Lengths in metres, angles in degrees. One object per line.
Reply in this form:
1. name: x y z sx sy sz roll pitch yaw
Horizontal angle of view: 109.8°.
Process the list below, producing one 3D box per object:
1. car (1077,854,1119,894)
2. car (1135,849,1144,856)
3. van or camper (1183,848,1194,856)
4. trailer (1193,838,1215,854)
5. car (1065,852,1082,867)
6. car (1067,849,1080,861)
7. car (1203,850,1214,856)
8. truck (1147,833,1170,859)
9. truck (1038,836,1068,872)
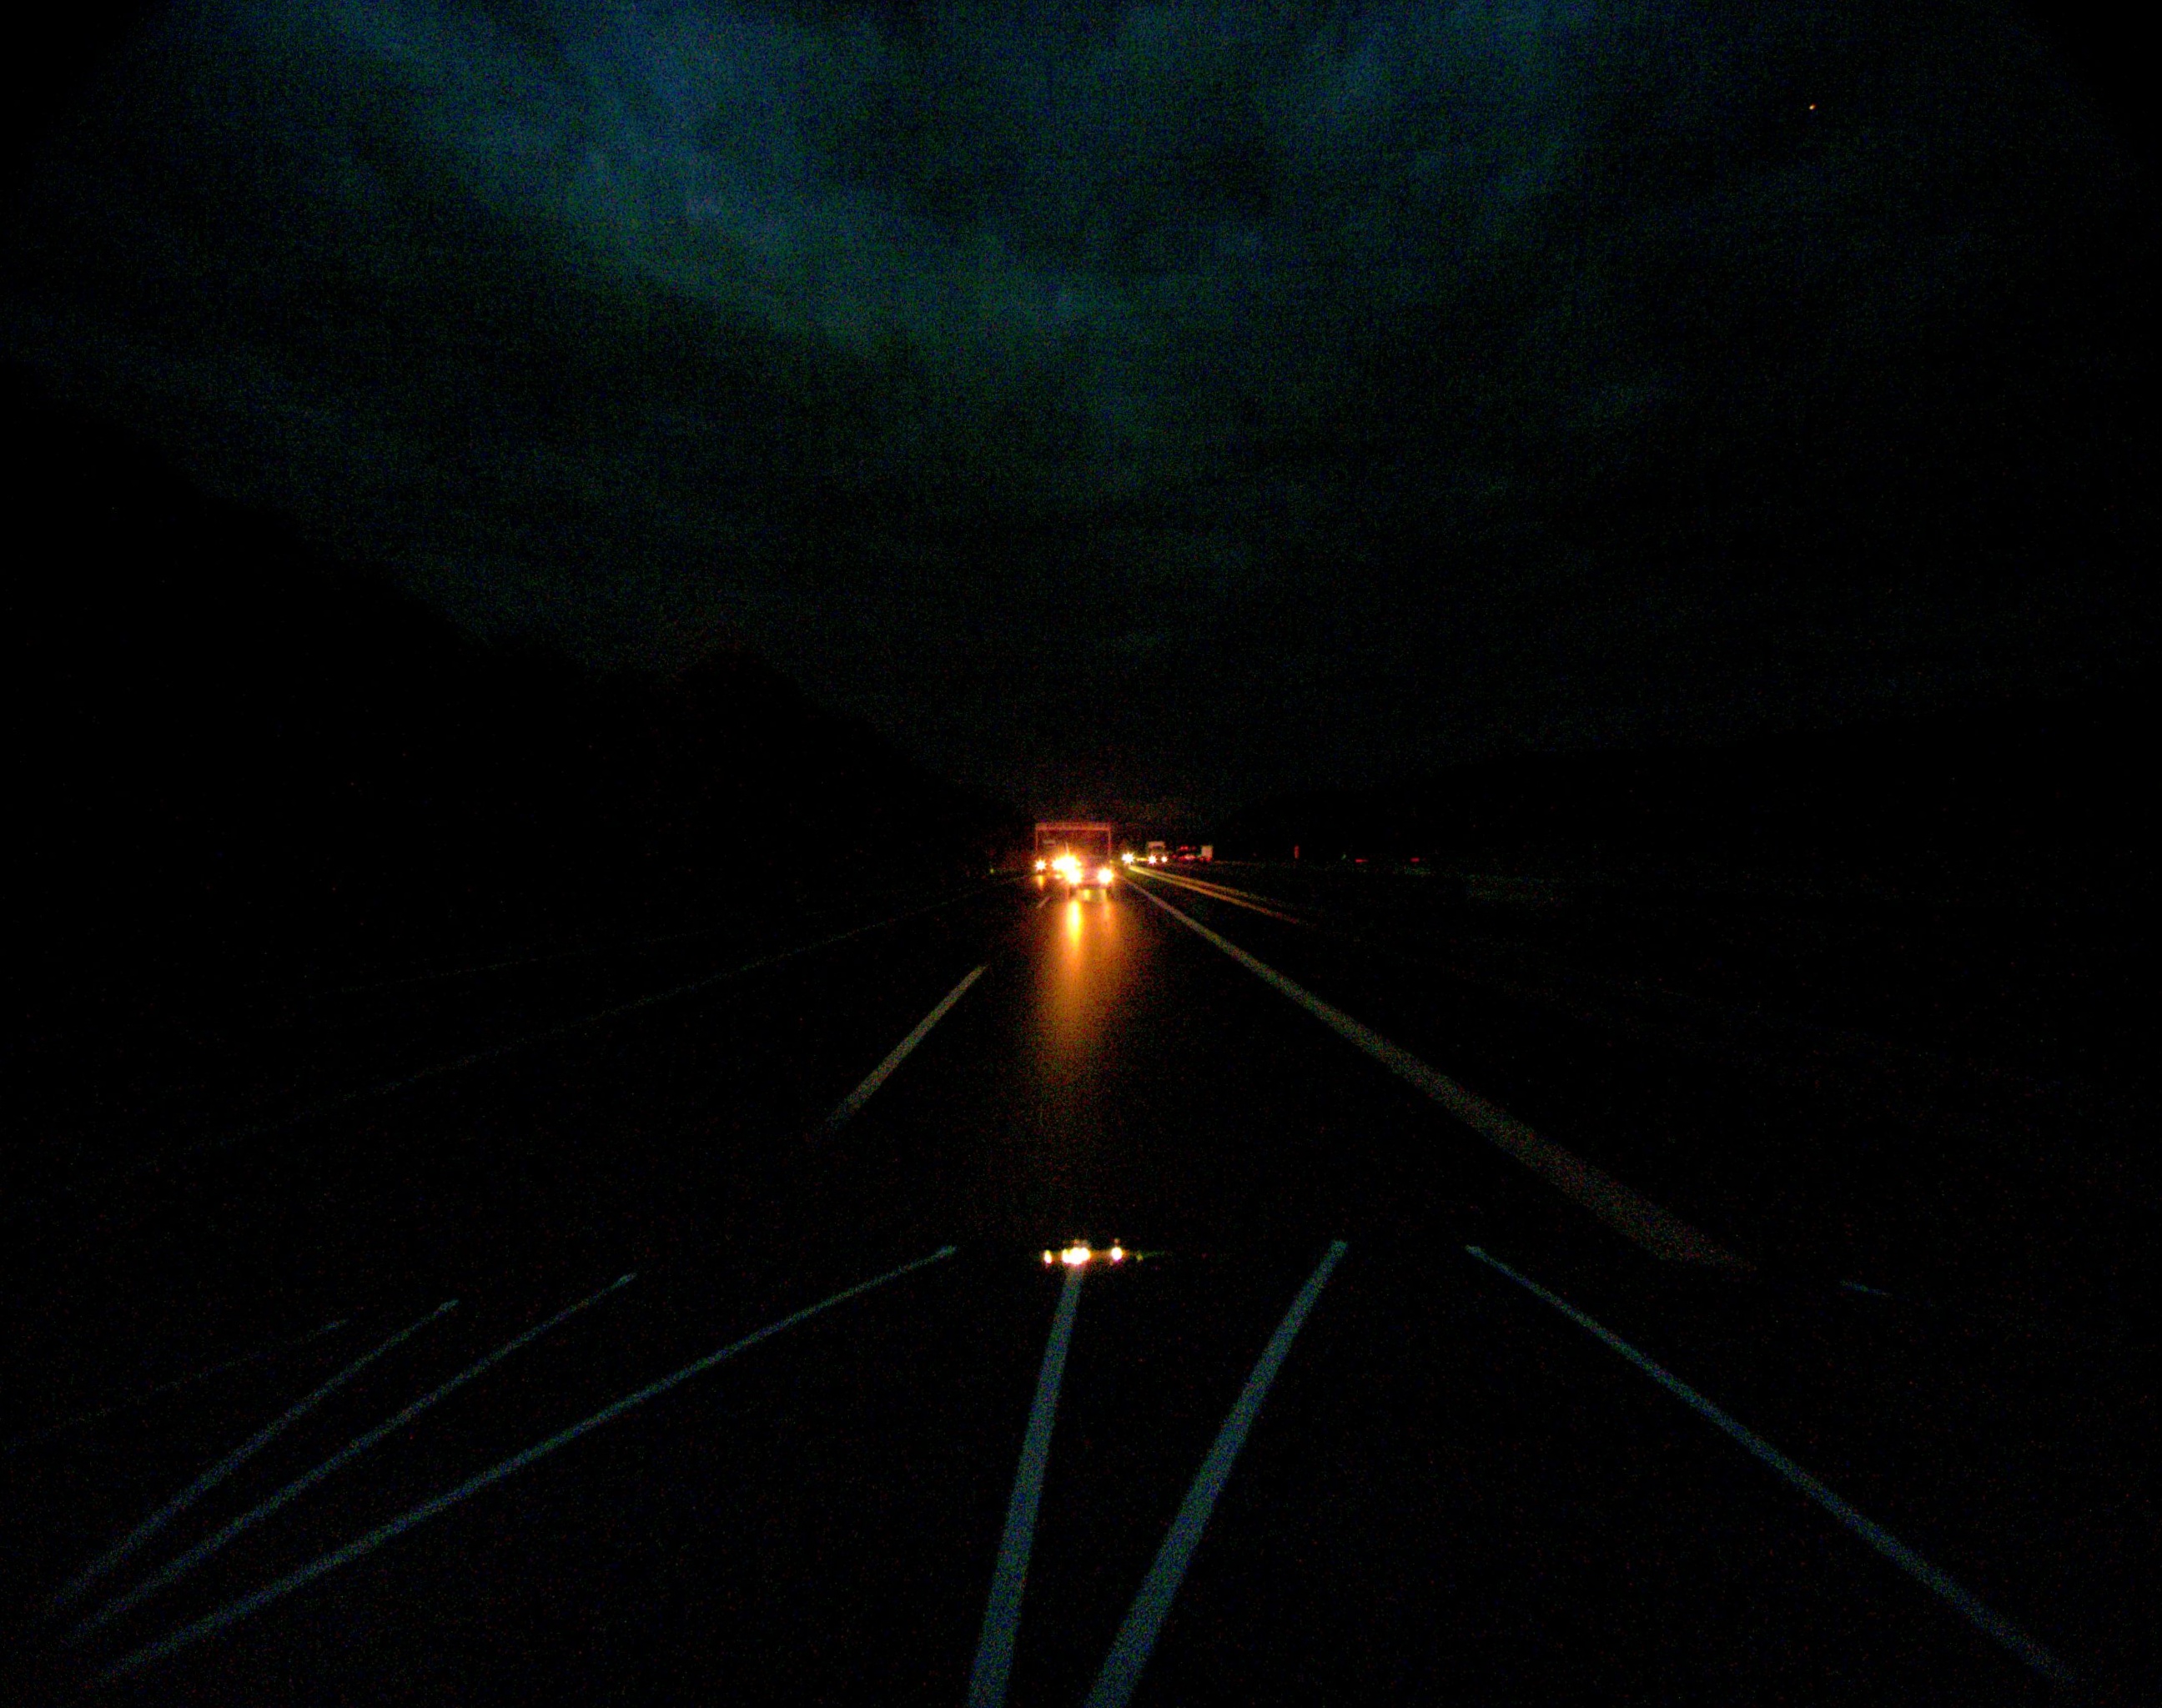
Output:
1. car: 0.691 0.777 31.720 1.669 1.551 3.756 0 0 1
2. car: 14.818 -0.339 193.353 1.833 1.674 4.228 -2 0 1
3. van or camper: 26.392 -0.590 186.803 1.895 1.896 5.540 -1 0 -1
4. trailer: 30.693 -1.918 189.708 3.335 3.743 13.884 0 1 0
5. car: -0.771 0.552 78.327 1.615 1.547 3.318 0 1 -1
6. car: -1.280 0.171 126.648 1.999 2.002 3.998 -1 1 -2
7. car: 27.533 -0.130 164.716 1.756 1.243 4.212 0 1 1
8. truck: 13.419 -1.348 132.281 3.046 4.276 9.890 0 1 0
9. truck: -2.430 0.010 66.964 2.274 2.954 6.631 -2 0 0
